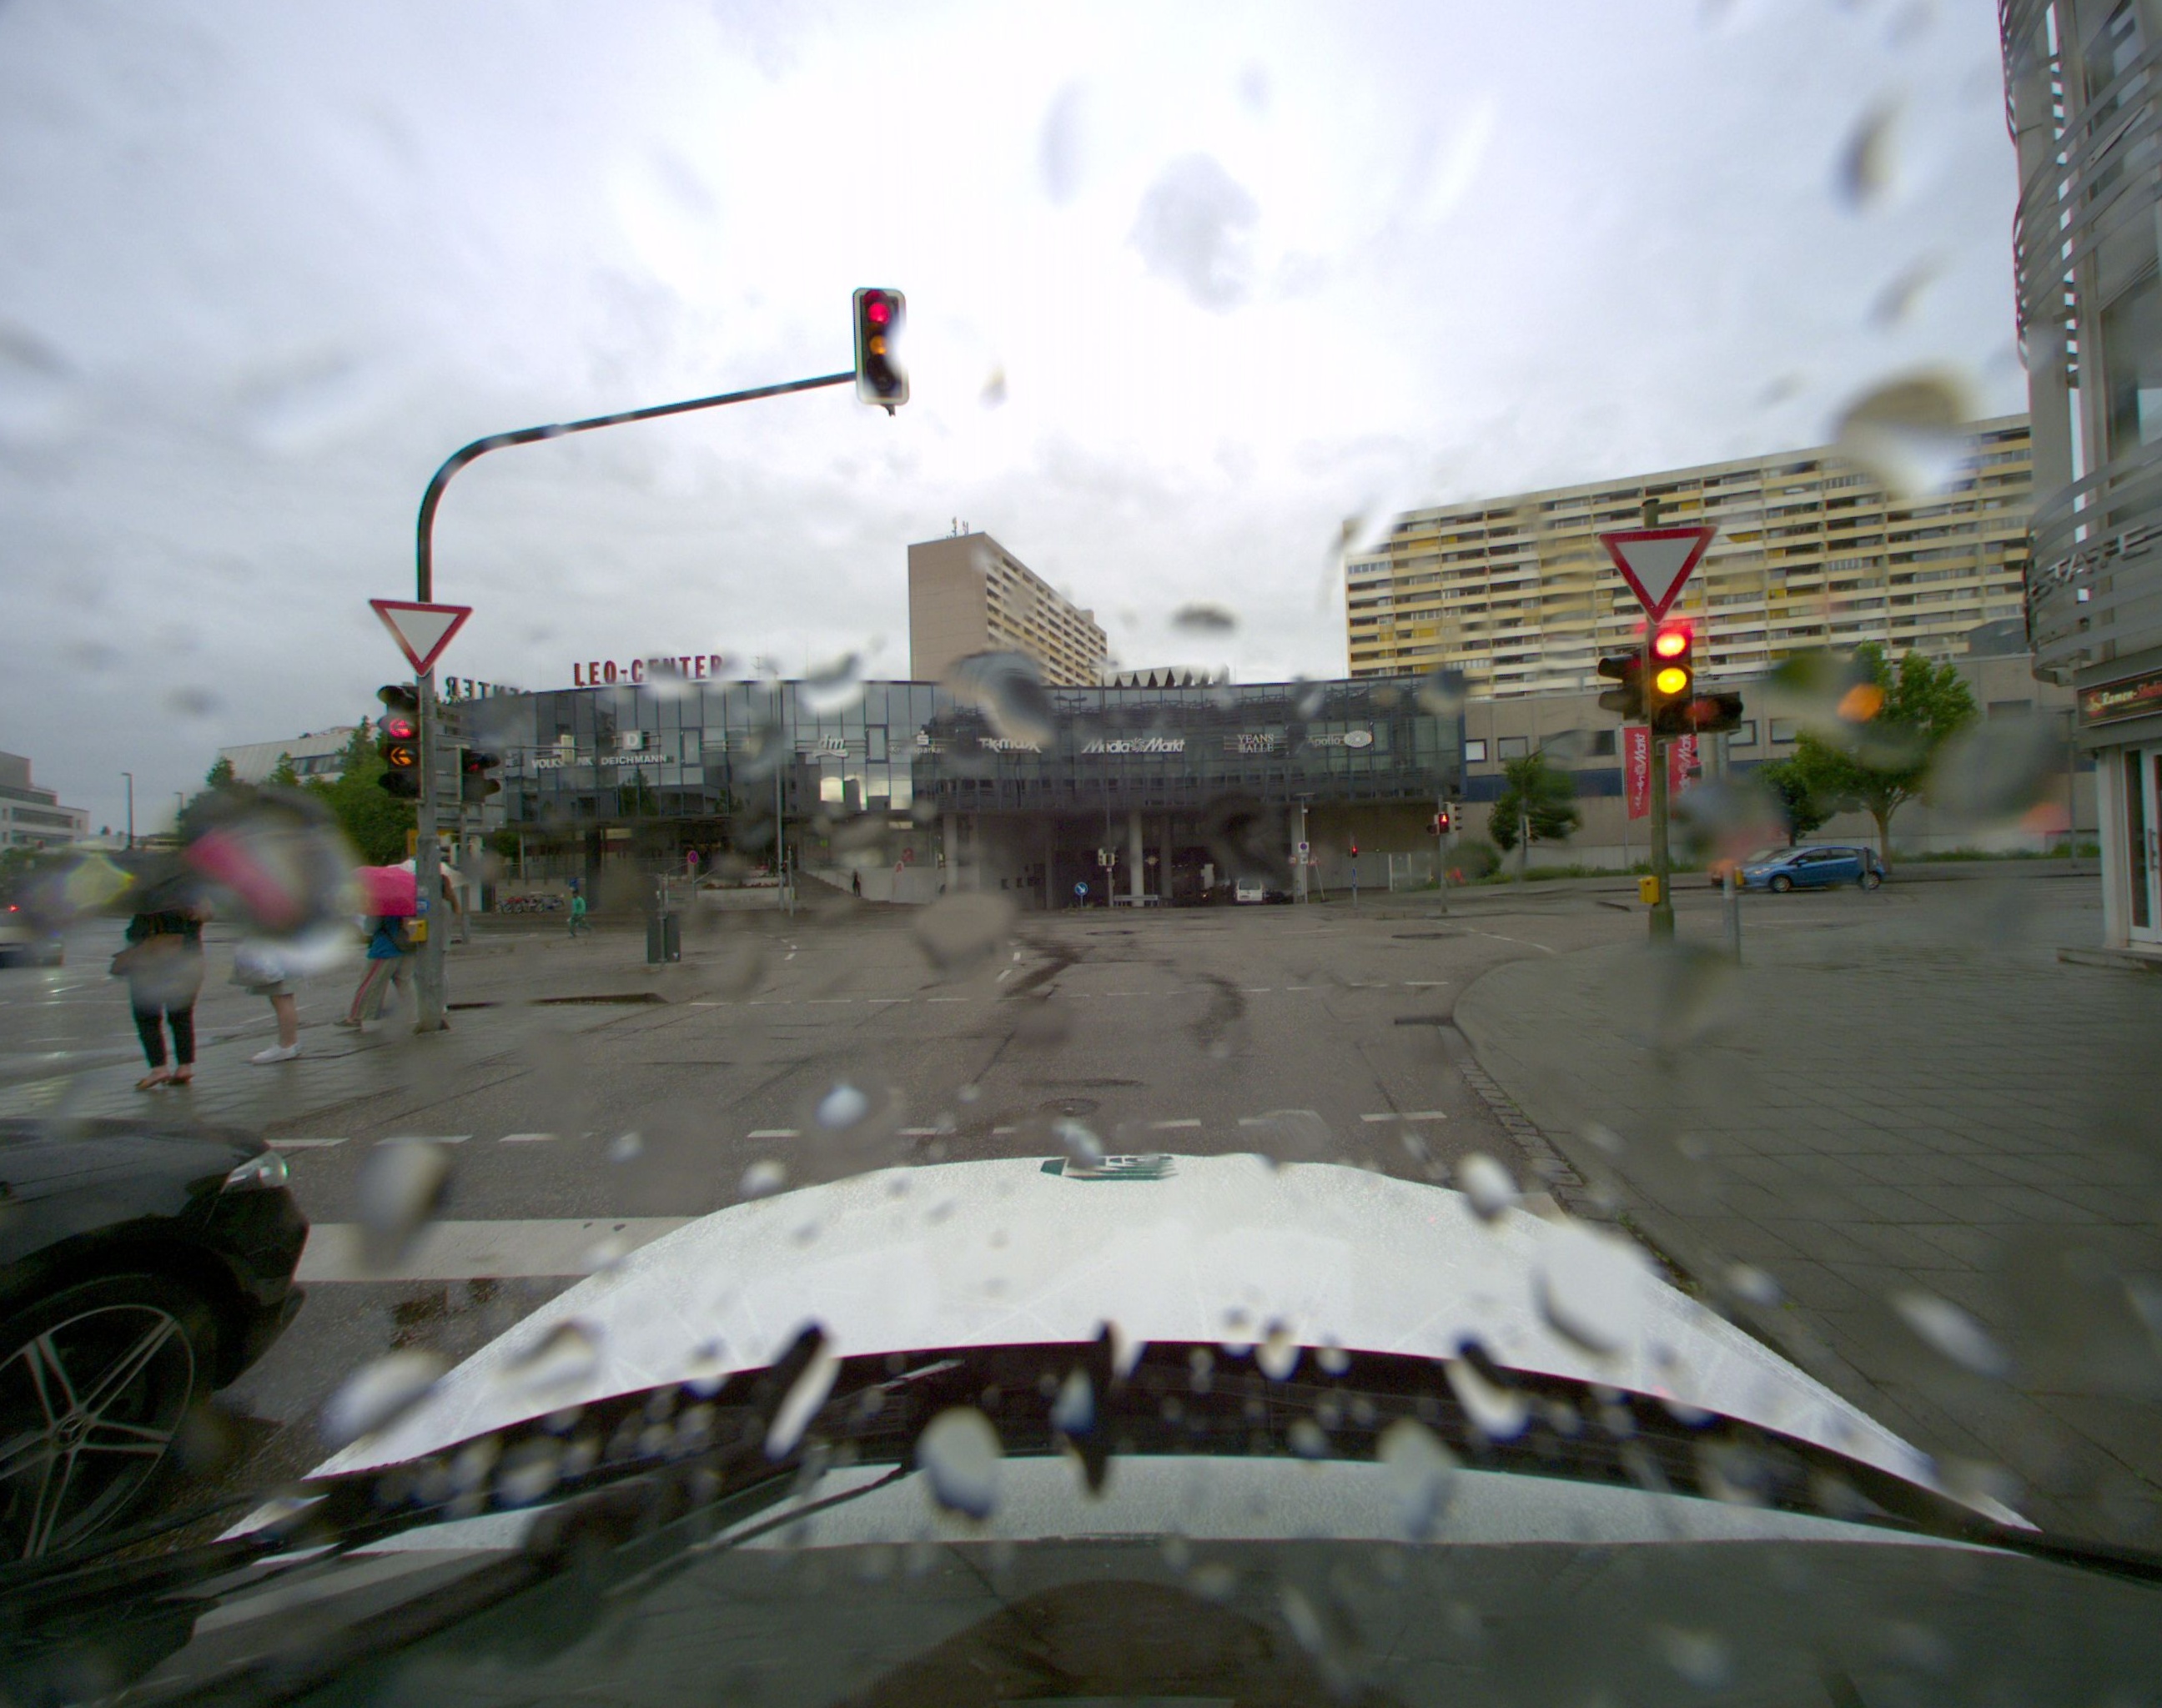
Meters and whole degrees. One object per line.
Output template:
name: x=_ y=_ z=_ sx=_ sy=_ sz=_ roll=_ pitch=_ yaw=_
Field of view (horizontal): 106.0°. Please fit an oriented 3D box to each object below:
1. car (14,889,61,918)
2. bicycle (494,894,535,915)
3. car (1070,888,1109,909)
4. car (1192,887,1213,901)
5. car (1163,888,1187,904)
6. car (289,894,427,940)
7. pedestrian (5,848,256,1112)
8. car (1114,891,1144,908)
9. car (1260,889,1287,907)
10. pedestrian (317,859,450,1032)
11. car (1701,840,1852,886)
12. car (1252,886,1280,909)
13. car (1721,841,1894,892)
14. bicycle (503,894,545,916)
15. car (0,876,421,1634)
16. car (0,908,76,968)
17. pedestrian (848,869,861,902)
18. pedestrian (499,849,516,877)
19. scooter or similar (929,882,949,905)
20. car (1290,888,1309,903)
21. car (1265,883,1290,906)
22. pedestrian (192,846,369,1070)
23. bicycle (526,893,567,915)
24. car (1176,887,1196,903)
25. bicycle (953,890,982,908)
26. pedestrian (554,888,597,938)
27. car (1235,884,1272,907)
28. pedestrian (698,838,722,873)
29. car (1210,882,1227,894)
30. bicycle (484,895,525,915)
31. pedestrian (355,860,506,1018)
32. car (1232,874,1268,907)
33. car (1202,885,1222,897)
car: x=-75.253 y=3.516 z=58.742 sx=4.085 sy=1.896 sz=2.062 roll=-1 pitch=-1 yaw=38
bicycle: x=-32.391 y=2.886 z=46.613 sx=0.621 sy=1.033 sz=1.865 roll=-3 pitch=1 yaw=20
car: x=0.701 y=3.422 z=62.644 sx=1.877 sy=1.470 sz=4.044 roll=-2 pitch=-5 yaw=18
car: x=15.195 y=4.983 z=101.547 sx=1.978 sy=1.664 sz=4.018 roll=-1 pitch=-1 yaw=17
car: x=10.513 y=4.673 z=91.134 sx=1.899 sy=1.588 sz=3.956 roll=-3 pitch=-2 yaw=17
car: x=-25.432 y=2.218 z=28.676 sx=3.949 sy=1.441 sz=1.754 roll=-2 pitch=-1 yaw=16
pedestrian: x=-6.974 y=0.855 z=6.049 sx=0.956 sy=1.736 sz=0.829 roll=-2 pitch=-2 yaw=-28
car: x=4.427 y=4.137 z=74.417 sx=1.756 sy=1.464 sz=3.892 roll=-3 pitch=-4 yaw=17
car: x=15.499 y=3.550 z=65.572 sx=1.765 sy=1.400 sz=4.017 roll=-3 pitch=-4 yaw=17
pedestrian: x=-7.233 y=0.910 z=8.469 sx=0.665 sy=1.685 sz=0.811 roll=-3 pitch=-2 yaw=23
car: x=24.851 y=0.337 z=29.225 sx=3.660 sy=1.395 sz=1.750 roll=-3 pitch=-2 yaw=11
car: x=13.840 y=3.246 z=60.793 sx=1.620 sy=1.612 sz=4.280 roll=-3 pitch=-4 yaw=17
car: x=23.402 y=0.410 z=26.374 sx=3.819 sy=1.397 sz=1.684 roll=-3 pitch=-2 yaw=10
bicycle: x=-31.681 y=2.873 z=46.369 sx=0.640 sy=1.042 sz=1.865 roll=-3 pitch=1 yaw=20
car: x=-3.001 y=0.829 z=0.604 sx=1.657 sy=1.481 sz=4.094 roll=0 pitch=0 yaw=0
car: x=-28.273 y=2.164 z=21.090 sx=5.079 sy=1.414 sz=2.136 roll=-3 pitch=-2 yaw=31
pedestrian: x=-13.194 y=1.833 z=47.482 sx=0.655 sy=1.908 sz=0.593 roll=-1 pitch=-1 yaw=-6
pedestrian: x=-35.268 y=0.548 z=50.074 sx=0.592 sy=1.714 sz=0.658 roll=-1 pitch=-1 yaw=25
scooter or similar: x=-8.475 y=2.336 z=48.526 sx=1.167 sy=1.373 sz=0.487 roll=0 pitch=-1 yaw=-13
car: x=24.277 y=4.580 z=90.410 sx=1.874 sy=1.491 sz=3.856 roll=-1 pitch=-1 yaw=16
car: x=16.917 y=3.473 z=70.134 sx=1.777 sy=1.771 sz=4.017 roll=-3 pitch=-2 yaw=17
pedestrian: x=-6.892 y=0.828 z=7.013 sx=1.123 sy=1.744 sz=0.865 roll=-3 pitch=-1 yaw=34
bicycle: x=-30.111 y=2.818 z=45.897 sx=0.625 sy=1.023 sz=1.864 roll=-3 pitch=1 yaw=20
car: x=12.409 y=4.804 z=95.978 sx=1.823 sy=1.728 sz=4.014 roll=-2 pitch=-1 yaw=13
bicycle: x=-6.794 y=2.698 z=48.852 sx=1.591 sy=1.018 sz=0.448 roll=5 pitch=-4 yaw=-29
pedestrian: x=-16.935 y=1.963 z=27.289 sx=0.940 sy=1.623 sz=0.814 roll=-3 pitch=-1 yaw=25
car: x=11.944 y=2.877 z=56.217 sx=1.742 sy=1.464 sz=3.963 roll=-3 pitch=-5 yaw=23
pedestrian: x=-21.489 y=0.101 z=47.169 sx=0.824 sy=2.014 sz=0.956 roll=0 pitch=-1 yaw=14
car: x=19.310 y=4.780 z=114.244 sx=1.979 sy=1.464 sz=4.016 roll=-3 pitch=-2 yaw=15
bicycle: x=-33.077 y=2.923 z=46.751 sx=0.529 sy=0.951 sz=1.865 roll=-1 pitch=2 yaw=23
pedestrian: x=-7.364 y=0.927 z=9.267 sx=0.932 sy=1.677 sz=0.917 roll=-2 pitch=-1 yaw=1
car: x=10.106 y=2.164 z=48.501 sx=1.912 sy=1.798 sz=4.310 roll=-2 pitch=-3 yaw=13
car: x=17.606 y=4.975 z=109.192 sx=1.978 sy=1.464 sz=4.018 roll=-3 pitch=-2 yaw=17
